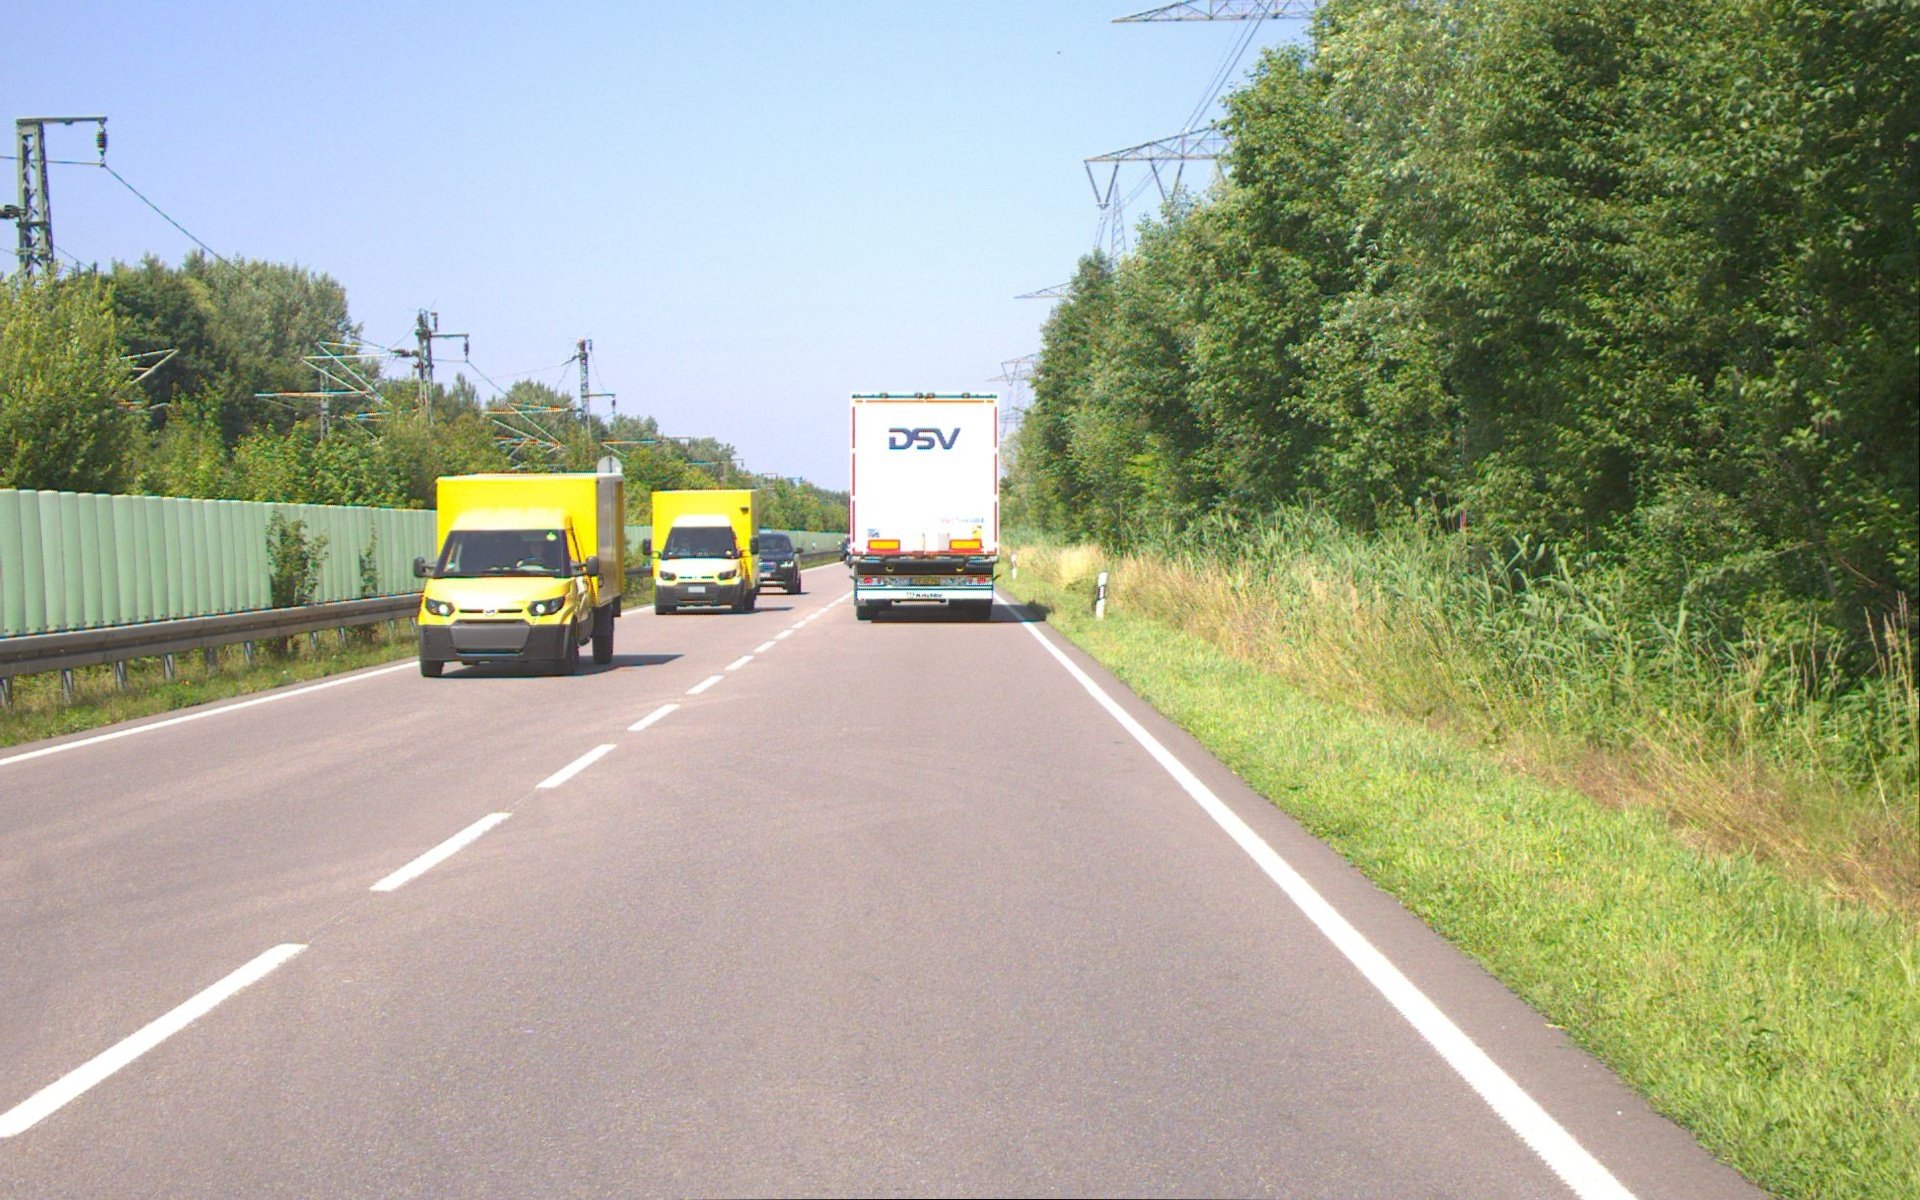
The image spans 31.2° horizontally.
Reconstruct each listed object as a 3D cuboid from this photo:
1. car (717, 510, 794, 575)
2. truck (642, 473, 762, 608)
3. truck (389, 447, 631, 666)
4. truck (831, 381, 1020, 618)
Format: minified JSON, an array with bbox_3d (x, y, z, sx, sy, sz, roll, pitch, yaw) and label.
[{"bbox_3d":[-5.526,-1.569,93.208,1.814,1.688,4.706,0,1,0],"label":"car"},{"bbox_3d":[-5.183,-1.217,69.815,2.080,2.637,5.705,0,1,-1],"label":"truck"},{"bbox_3d":[-5.102,-0.528,39.782,1.993,2.340,6.012,0,1,0],"label":"truck"},{"bbox_3d":[-0.672,-1.831,64.738,3.192,4.029,12.008,-1,1,-1],"label":"truck"}]
